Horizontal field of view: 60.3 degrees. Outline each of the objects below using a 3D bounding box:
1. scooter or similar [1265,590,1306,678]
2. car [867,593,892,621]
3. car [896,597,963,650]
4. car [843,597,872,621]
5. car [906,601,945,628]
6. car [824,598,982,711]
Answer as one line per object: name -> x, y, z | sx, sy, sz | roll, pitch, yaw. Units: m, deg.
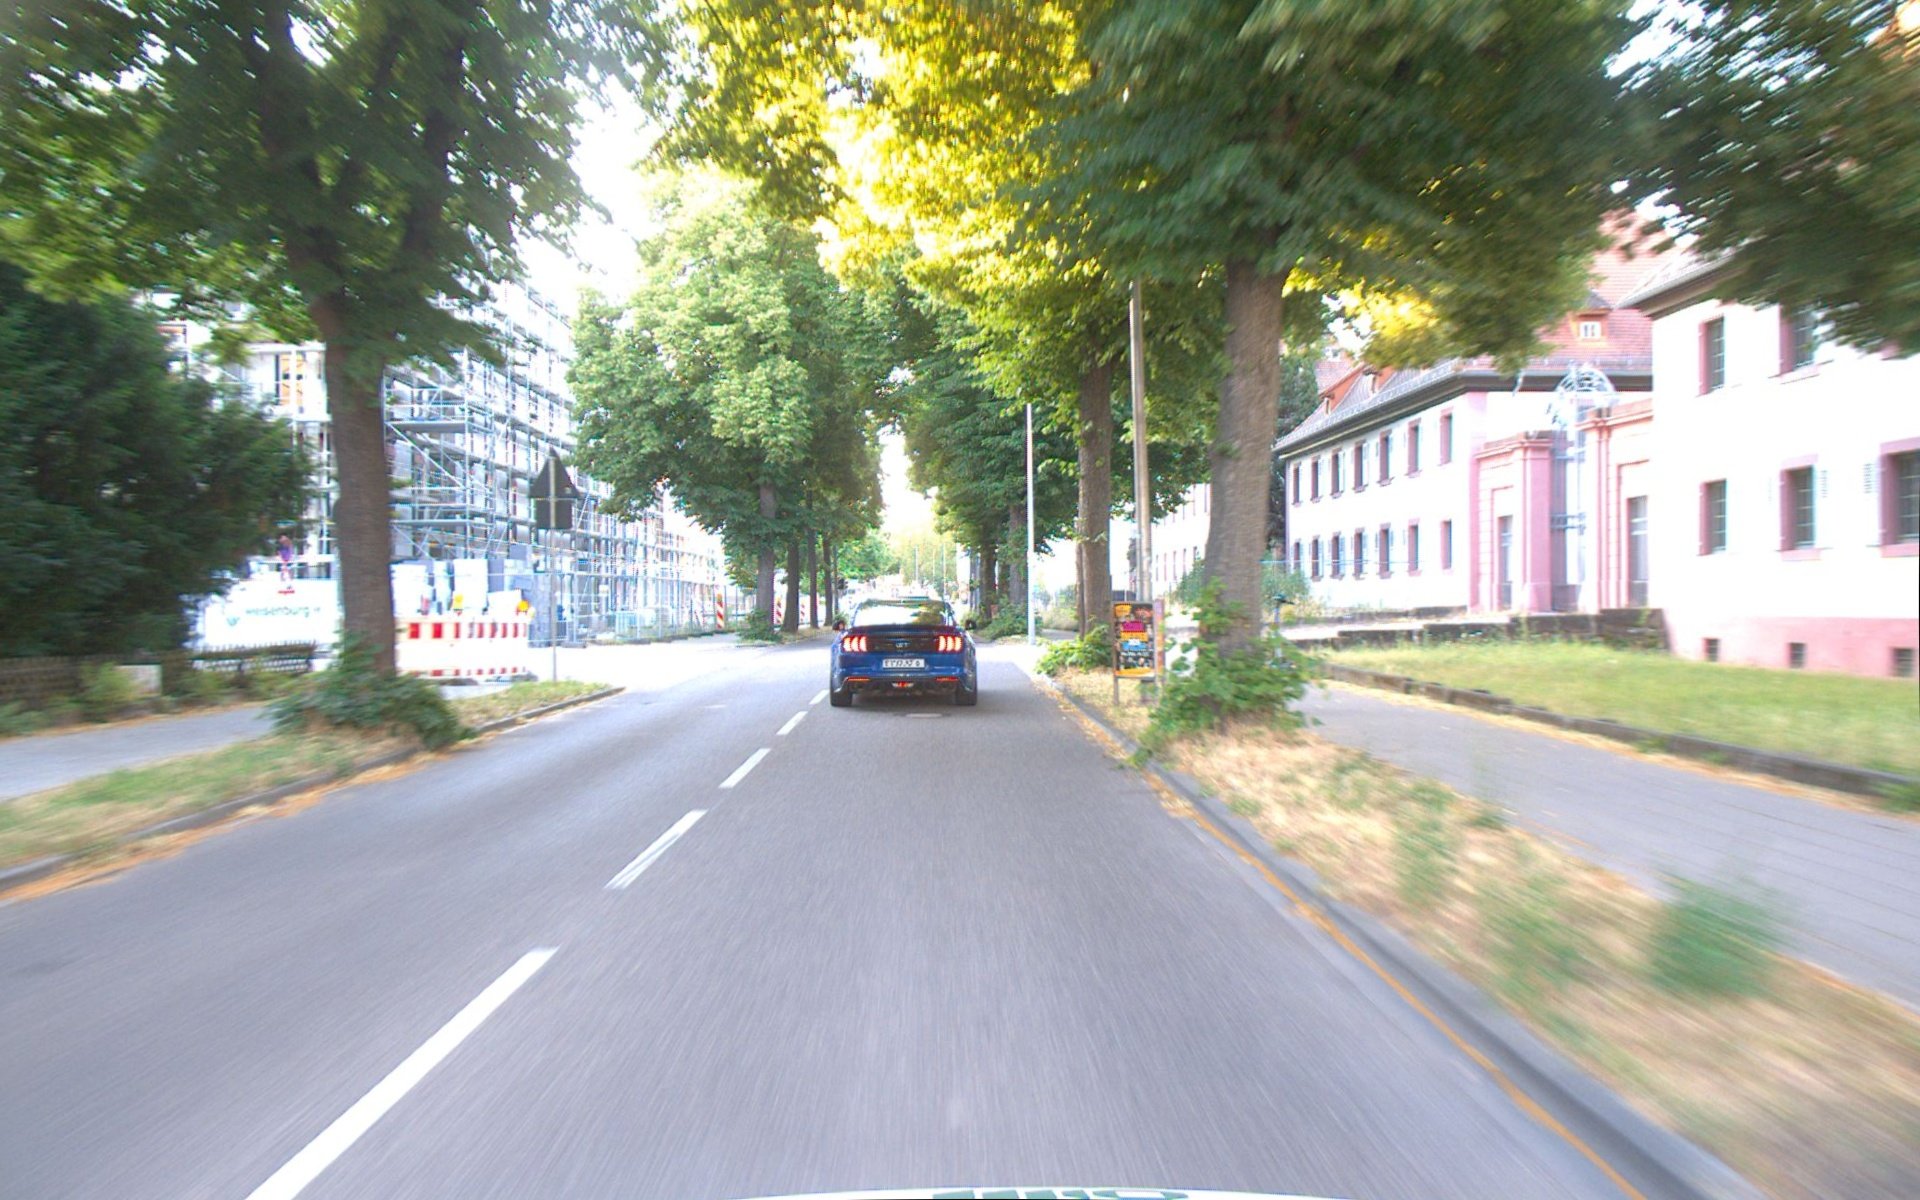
scooter or similar -> 4.956, 0.511, 25.241 | 0.234, 1.298, 1.265 | -1, -1, -6
car -> -8.199, 0.693, 169.111 | 2.442, 2.744, 5.828 | -1, 0, -2
car -> -0.910, 0.696, 51.315 | 1.907, 1.554, 4.000 | 1, 0, 1
car -> -9.708, 0.843, 157.267 | 2.288, 2.236, 5.309 | -1, 0, 0
car -> -1.819, 0.755, 88.715 | 1.907, 1.350, 4.000 | 1, 0, 1
car -> -0.732, 0.666, 22.208 | 1.907, 1.350, 3.999 | 1, 0, -1
